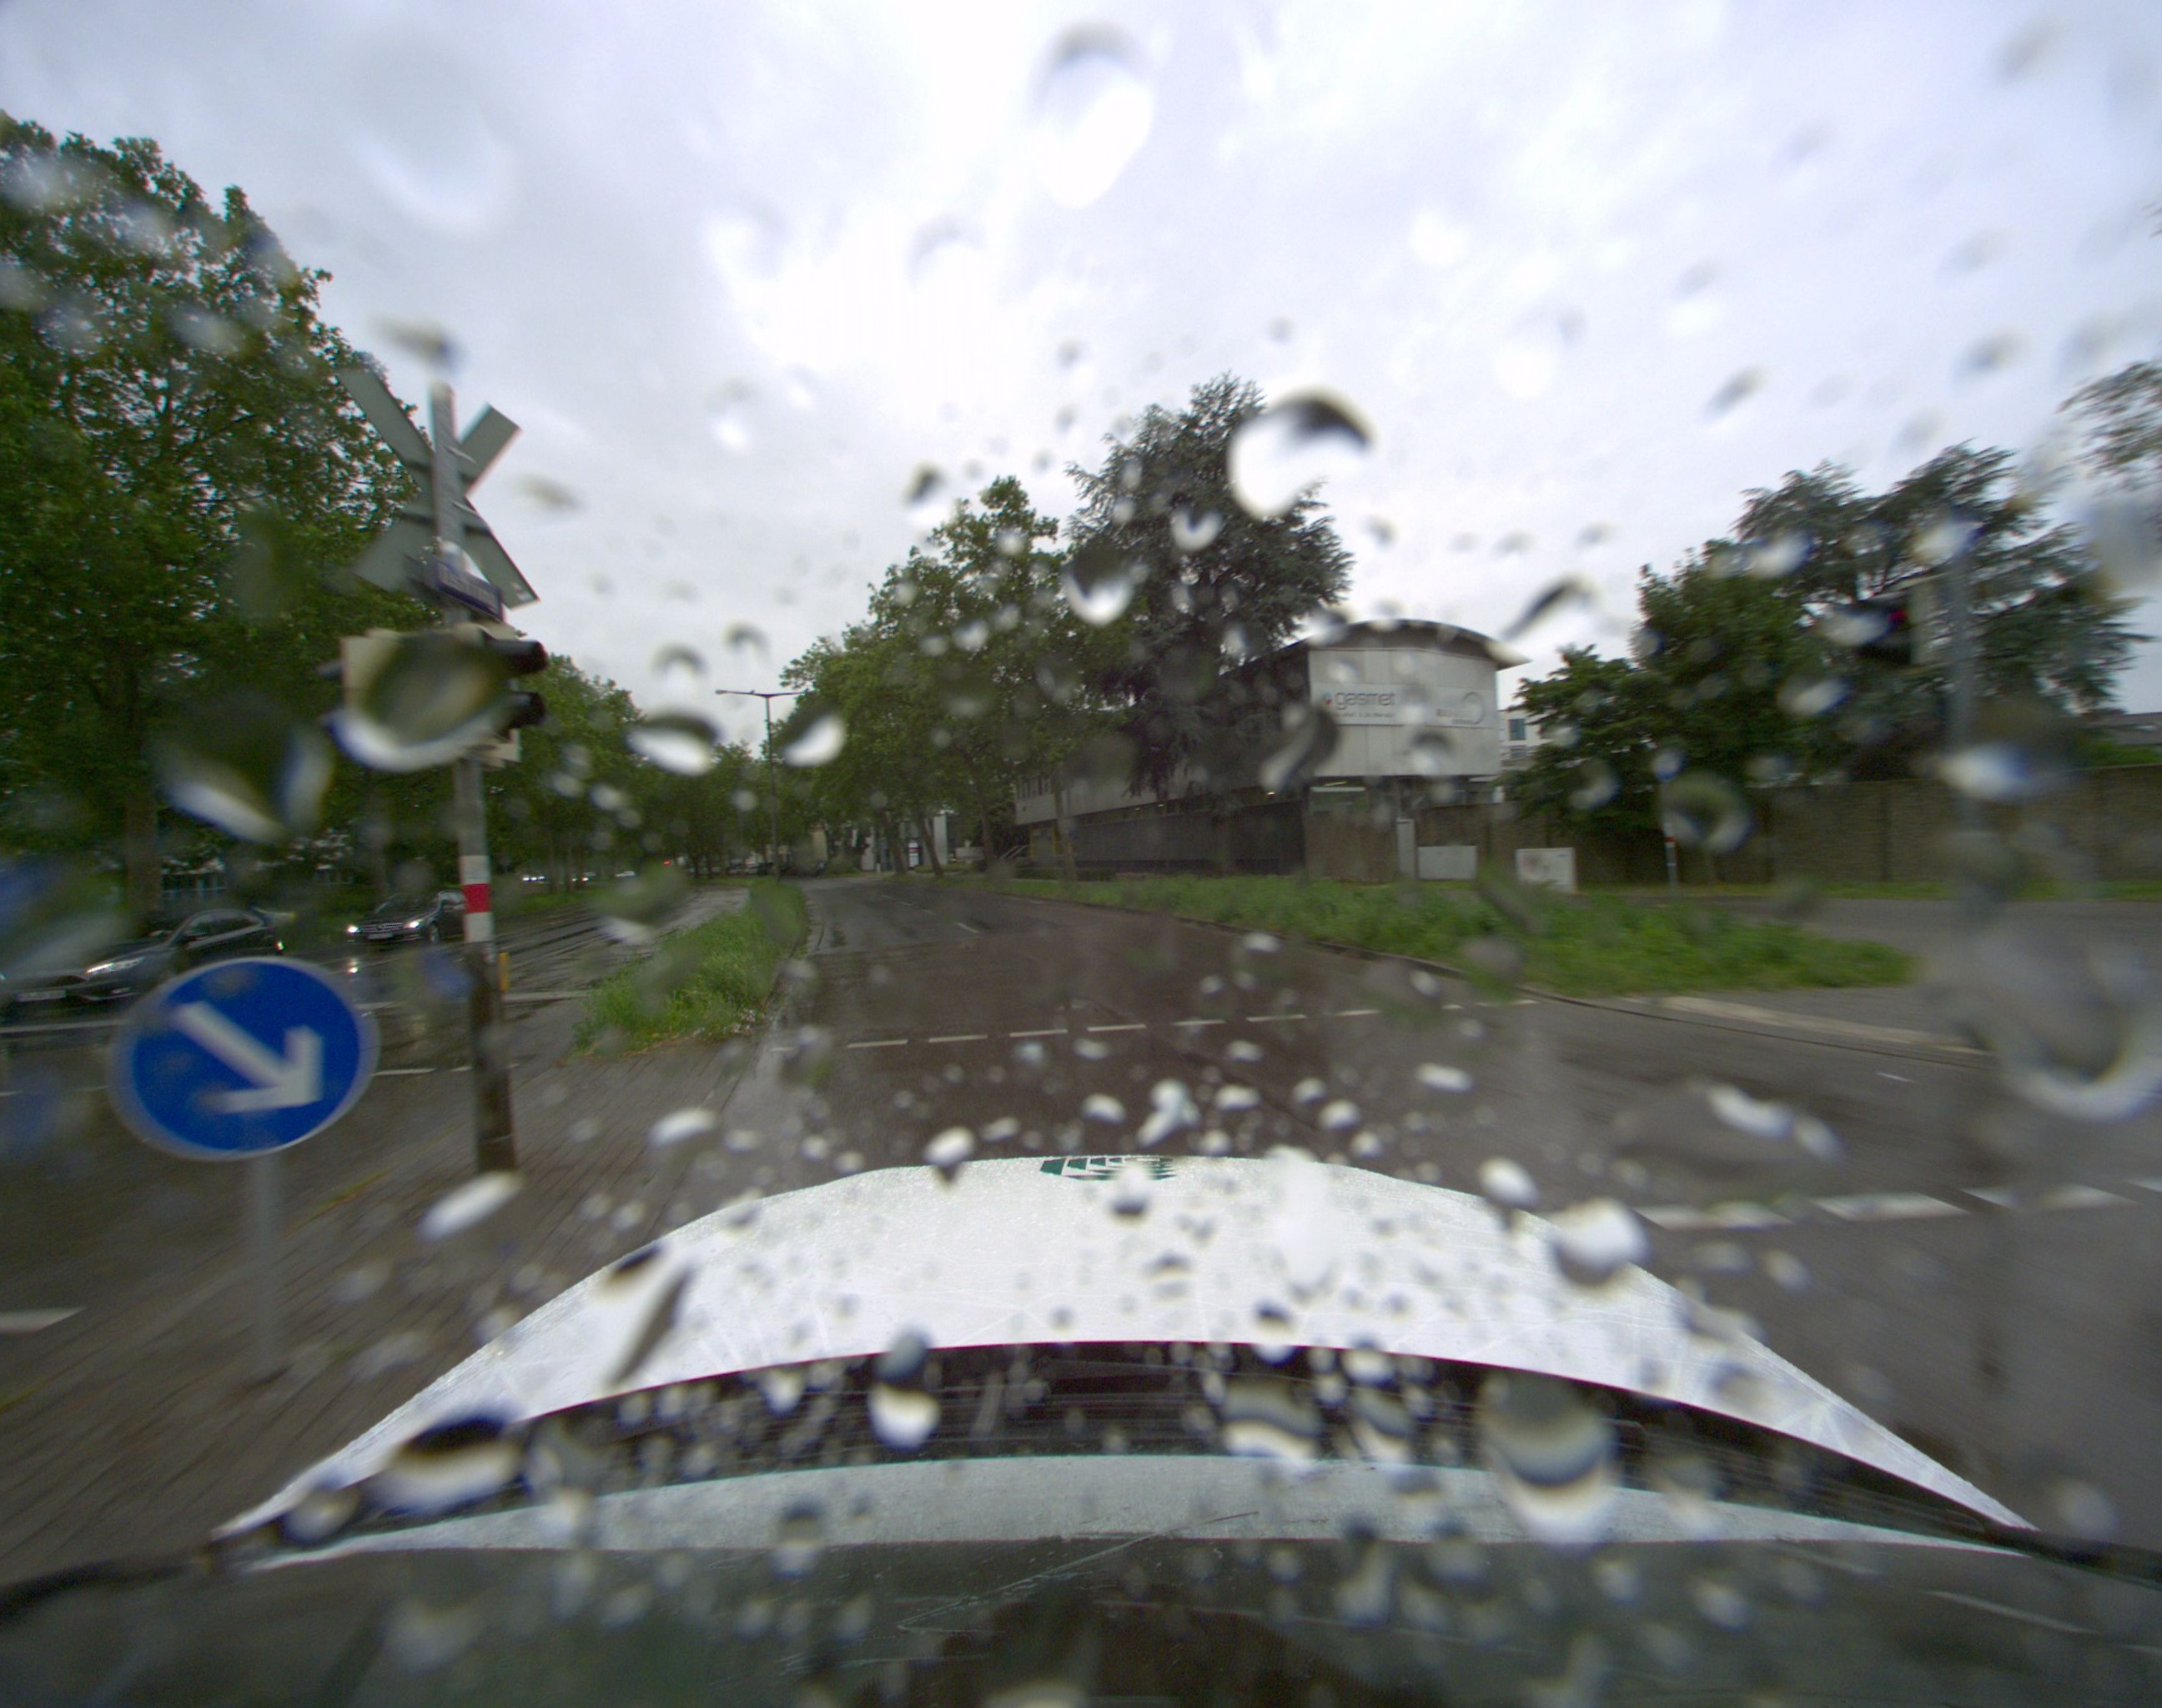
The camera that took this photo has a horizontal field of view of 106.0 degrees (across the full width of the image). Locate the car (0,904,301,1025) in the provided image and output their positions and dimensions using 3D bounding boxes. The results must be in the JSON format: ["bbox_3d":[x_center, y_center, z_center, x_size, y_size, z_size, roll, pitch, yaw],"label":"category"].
[{"bbox_3d":[-15.421,1.700,13.629,1.806,1.401,4.282,-5,0,-21],"label":"car"}]

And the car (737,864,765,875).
[{"bbox_3d":[-55.868,2.615,137.856,3.899,1.650,1.866,-4,2,-38],"label":"car"}]

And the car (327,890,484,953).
[{"bbox_3d":[-18.468,1.779,22.542,1.804,1.407,4.431,-3,-1,-19],"label":"car"}]

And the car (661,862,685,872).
[{"bbox_3d":[-87.364,2.726,174.357,4.023,1.820,1.976,-4,2,-43],"label":"car"}]

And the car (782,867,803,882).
[{"bbox_3d":[-37.426,2.625,105.670,2.004,1.782,3.966,-3,2,-26],"label":"car"}]

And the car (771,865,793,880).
[{"bbox_3d":[-41.065,2.536,111.752,2.007,1.782,3.961,-3,2,-31],"label":"car"}]

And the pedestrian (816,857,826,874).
[{"bbox_3d":[-29.803,1.339,93.420,0.701,1.950,0.861,-2,1,17],"label":"pedestrian"}]

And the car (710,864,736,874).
[{"bbox_3d":[-64.902,2.769,147.703,3.903,1.504,1.865,-4,2,-44],"label":"car"}]

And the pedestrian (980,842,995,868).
[{"bbox_3d":[-6.157,0.032,53.357,0.674,1.668,0.818,-3,2,-27],"label":"pedestrian"}]

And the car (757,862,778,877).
[{"bbox_3d":[-46.913,2.335,121.870,2.137,2.088,3.959,-3,2,-33],"label":"car"}]
